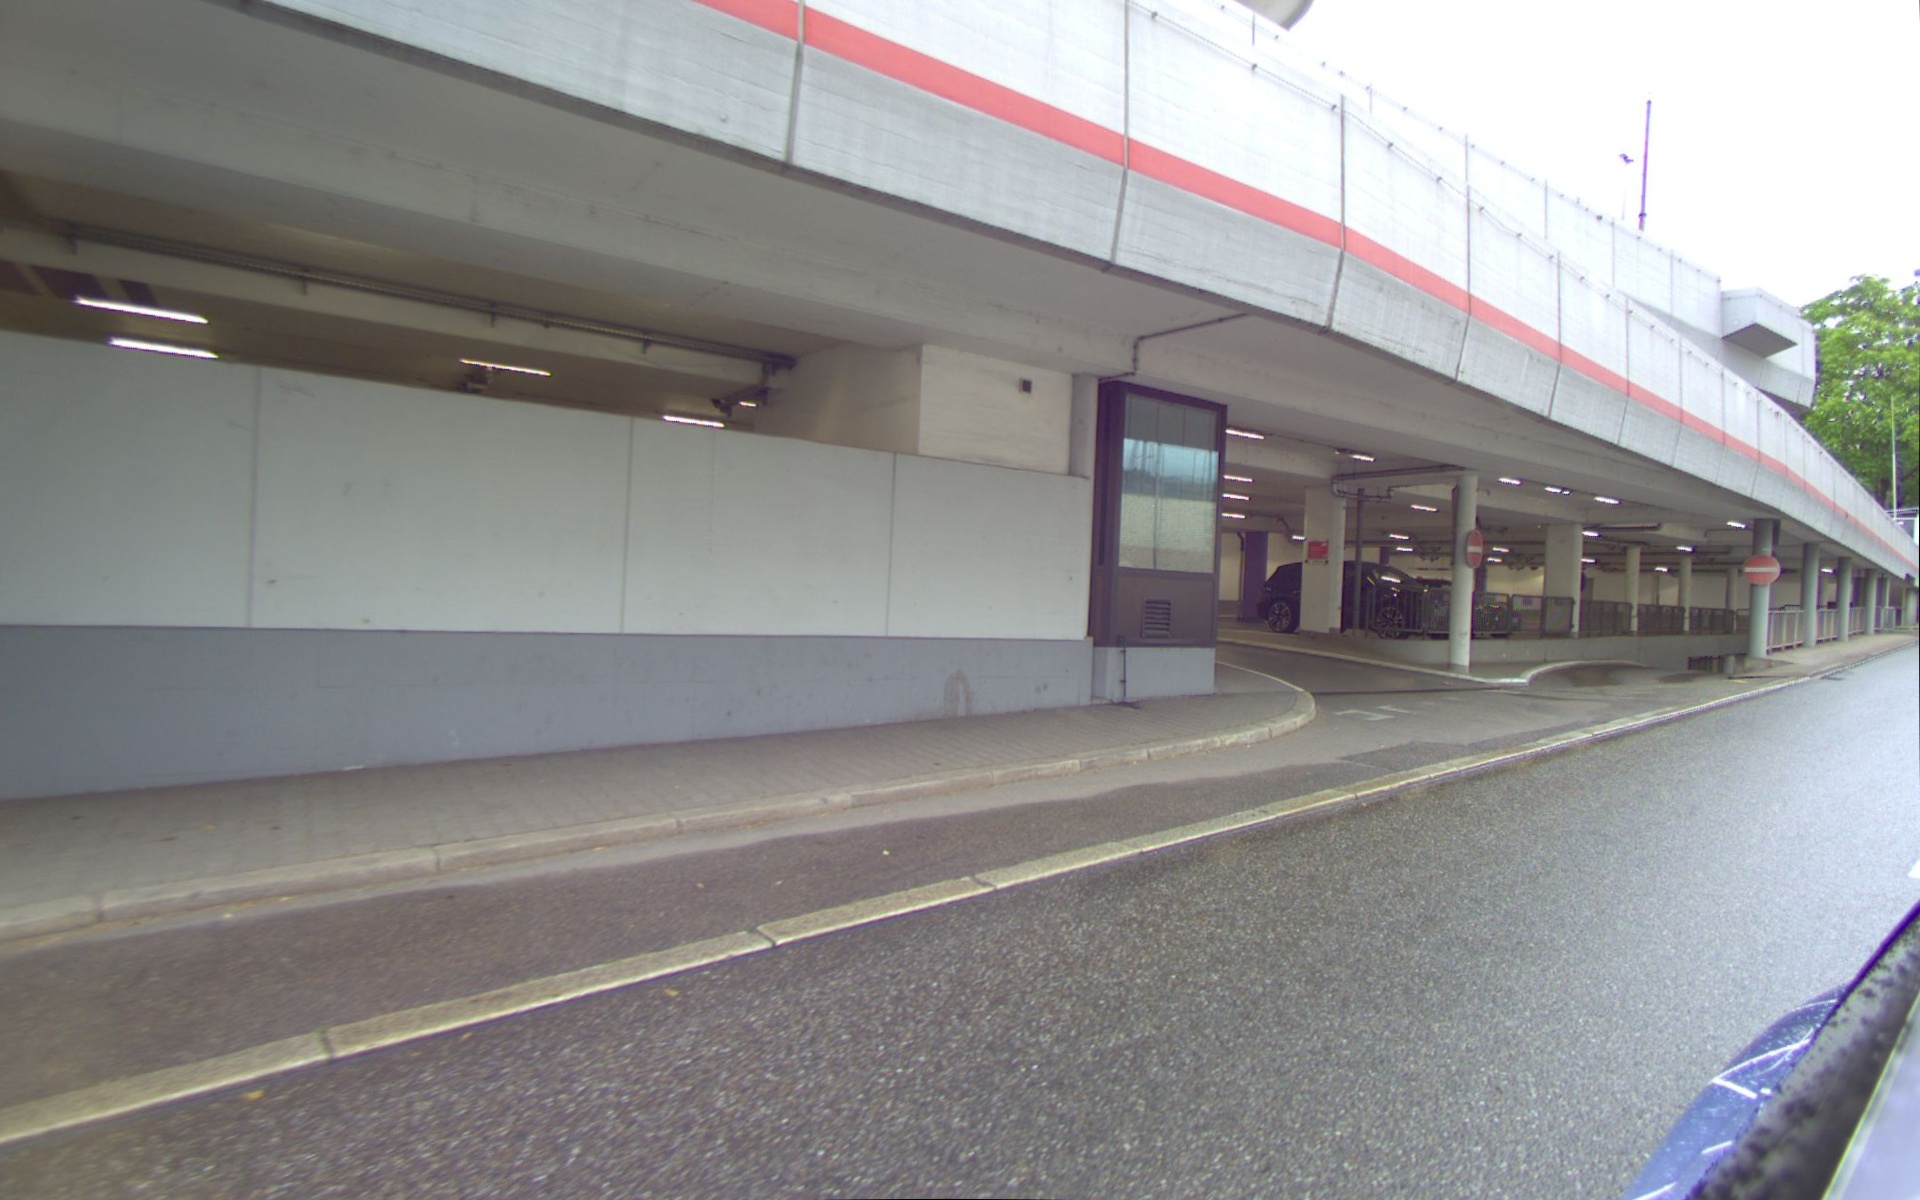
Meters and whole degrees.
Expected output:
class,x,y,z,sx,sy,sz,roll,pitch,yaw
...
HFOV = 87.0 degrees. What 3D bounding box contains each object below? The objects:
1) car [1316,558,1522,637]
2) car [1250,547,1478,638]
class,x,y,z,sx,sy,sz,roll,pitch,yaw
car,11.308,-0.086,25.219,1.960,1.682,4.262,5,-1,-31
car,8.706,-0.166,22.179,1.960,1.682,4.262,5,-1,-31
